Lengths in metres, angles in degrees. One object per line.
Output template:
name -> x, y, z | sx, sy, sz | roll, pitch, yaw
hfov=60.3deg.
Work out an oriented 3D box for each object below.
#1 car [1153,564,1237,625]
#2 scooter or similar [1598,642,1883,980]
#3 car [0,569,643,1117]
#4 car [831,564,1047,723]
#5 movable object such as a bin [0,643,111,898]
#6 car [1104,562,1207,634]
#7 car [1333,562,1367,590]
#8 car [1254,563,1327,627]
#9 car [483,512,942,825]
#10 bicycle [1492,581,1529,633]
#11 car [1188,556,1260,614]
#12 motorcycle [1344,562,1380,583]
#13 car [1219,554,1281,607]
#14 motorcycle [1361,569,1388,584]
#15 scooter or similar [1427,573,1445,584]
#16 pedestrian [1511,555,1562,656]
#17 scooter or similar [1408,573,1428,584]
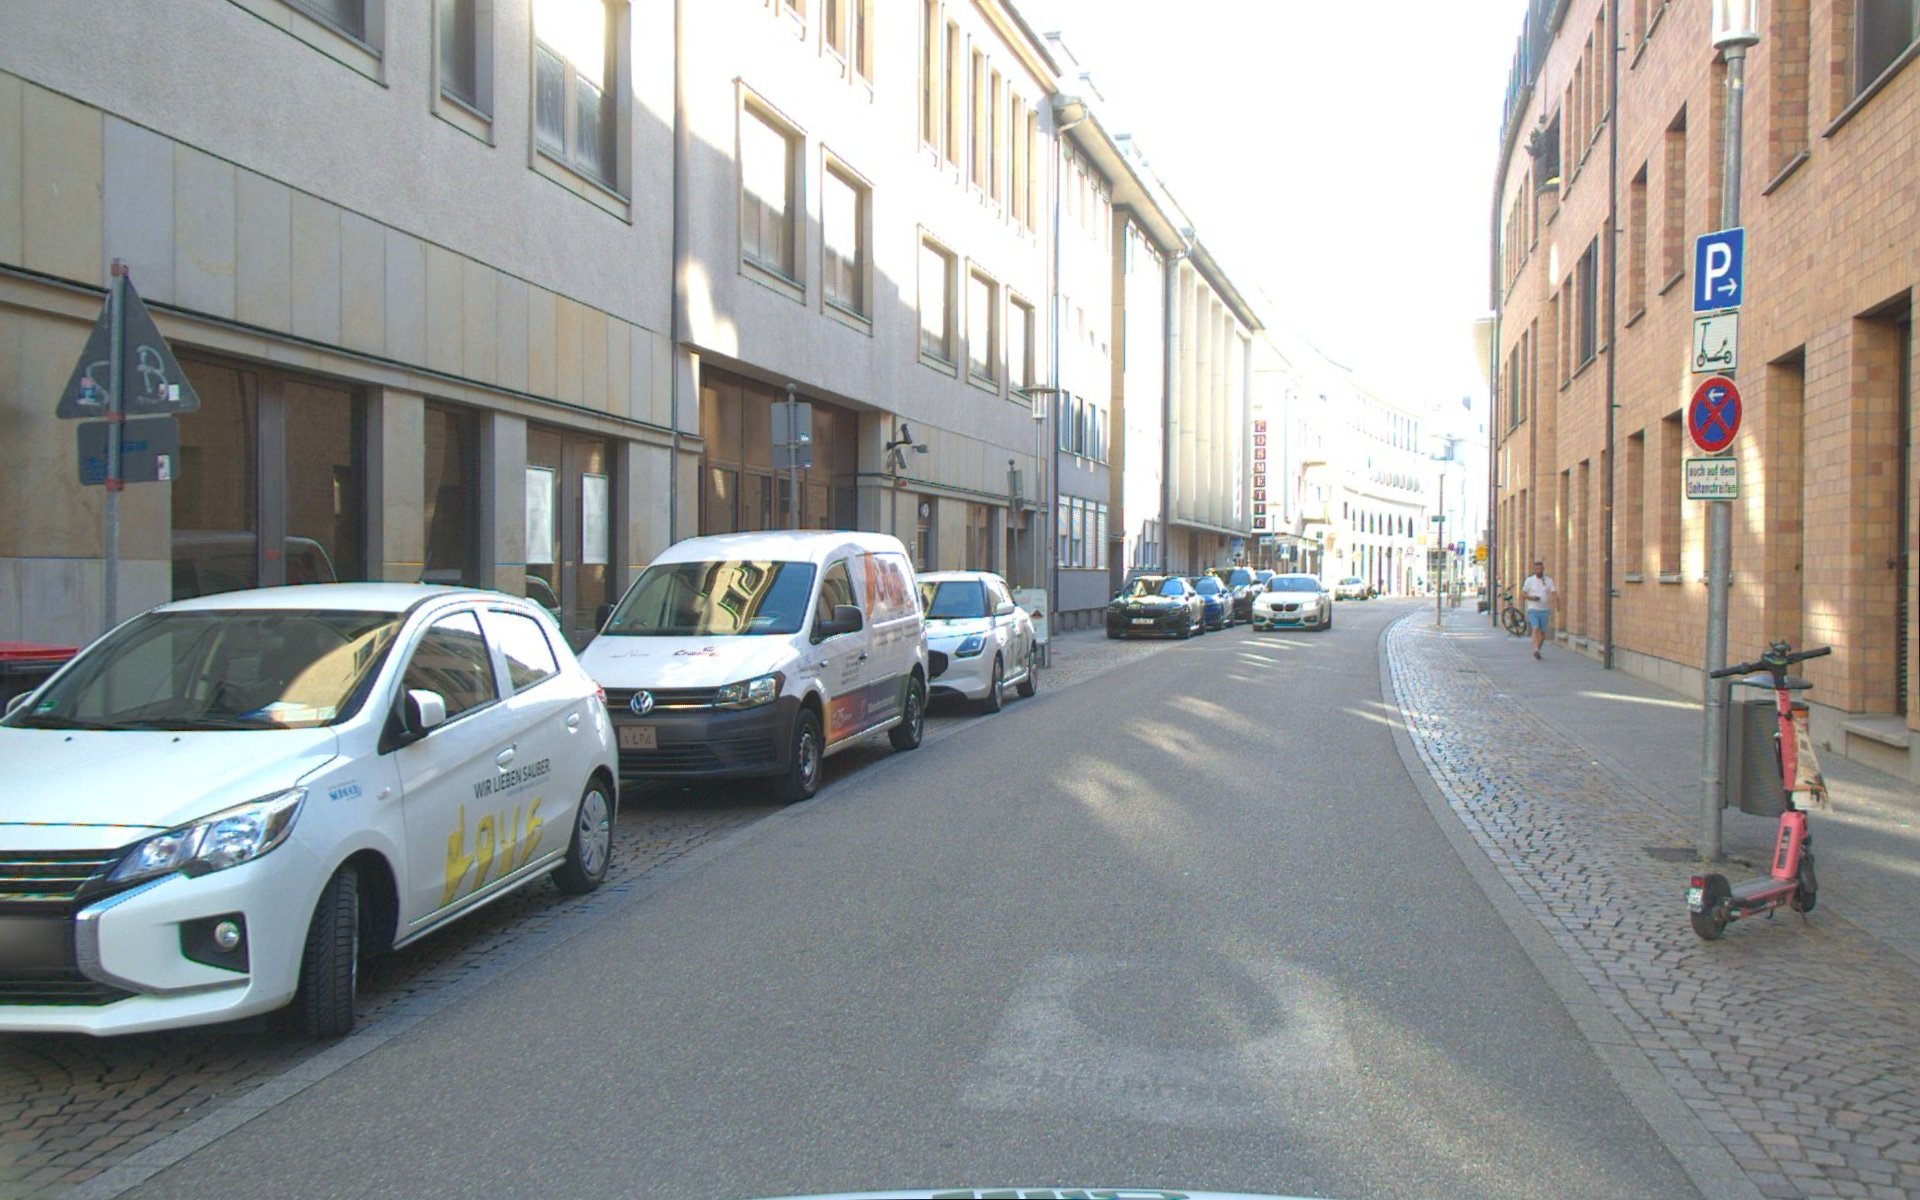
car -> 6.429, -0.194, 44.932 | 1.849, 1.556, 4.344 | 0, 2, 14
scooter or similar -> 3.390, 0.847, 7.145 | 1.405, 1.257, 0.531 | -1, 3, -39
car -> -2.671, 0.672, 6.641 | 1.700, 1.518, 3.803 | -1, 1, 6
car -> -0.124, 0.412, 18.684 | 1.634, 1.548, 3.779 | -2, 1, 11
movable object such as a bin -> -4.626, 0.792, 7.964 | 0.721, 1.120, 0.591 | 2, 1, 8
car -> 4.660, -0.103, 38.909 | 1.849, 1.556, 4.733 | 0, 2, 14
car -> 23.979, -1.472, 101.577 | 1.700, 1.633, 3.535 | 2, 2, 18
car -> 8.595, -0.178, 42.858 | 1.678, 1.544, 4.164 | 0, 2, 14
car -> -1.572, 0.364, 12.491 | 1.858, 1.890, 4.738 | -1, 1, 12
bicycle -> 12.902, 0.149, 38.808 | 0.538, 1.122, 1.984 | -3, 1, 12
car -> 8.175, -0.509, 50.946 | 1.849, 1.705, 4.558 | 0, 2, 14
motorcycle -> 27.254, -1.872, 112.105 | 2.340, 1.340, 0.862 | 0, 1, 18
car -> 10.128, -0.715, 57.509 | 1.849, 1.772, 4.395 | 0, 2, 14
motorcycle -> 27.102, -1.530, 108.132 | 1.657, 0.874, 0.594 | 3, 1, 22
scooter or similar -> 41.825, -1.912, 145.312 | 2.209, 0.944, 0.519 | -1, 2, -43
pedestrian -> 10.227, 0.092, 29.346 | 0.744, 1.746, 0.822 | -1, 1, 14
scooter or similar -> 38.945, -1.835, 140.715 | 2.209, 0.944, 0.519 | -1, 2, -43
